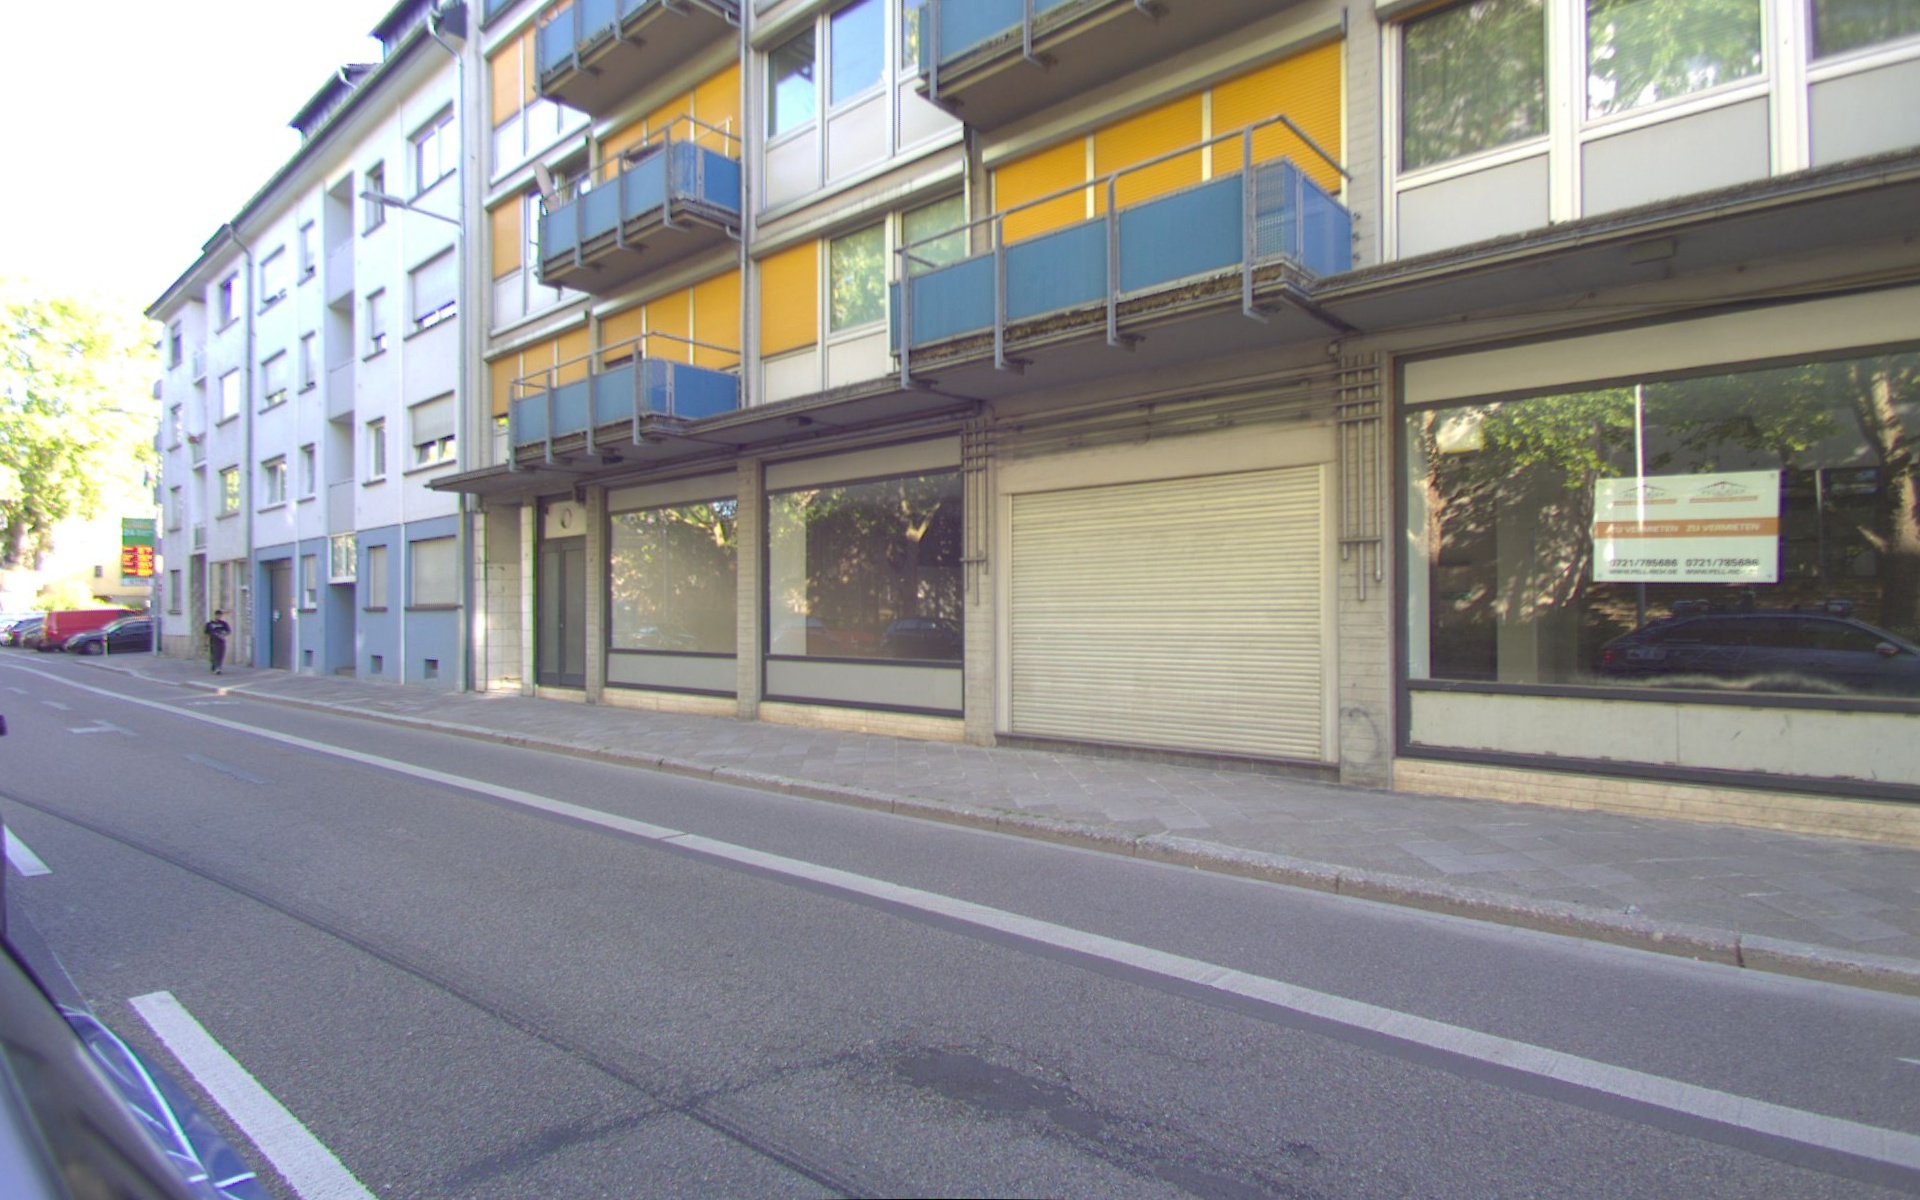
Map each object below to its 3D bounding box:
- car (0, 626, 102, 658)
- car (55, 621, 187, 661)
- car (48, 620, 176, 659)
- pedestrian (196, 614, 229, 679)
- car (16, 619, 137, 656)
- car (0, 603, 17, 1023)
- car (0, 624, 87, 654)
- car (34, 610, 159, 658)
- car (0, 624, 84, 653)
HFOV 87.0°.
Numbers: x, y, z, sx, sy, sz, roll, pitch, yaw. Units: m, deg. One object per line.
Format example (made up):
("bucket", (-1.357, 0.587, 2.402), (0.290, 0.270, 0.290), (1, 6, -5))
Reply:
("car", (-50.459, 2.297, 56.107), (1.652, 1.480, 4.201), (-1, 1, 41))
("car", (-36.490, 1.748, 44.095), (1.652, 1.411, 4.201), (-1, 1, 41))
("car", (-38.183, 1.736, 45.659), (1.652, 1.480, 4.201), (-1, 1, 41))
("pedestrian", (-20.263, 1.251, 27.434), (0.655, 1.708, 0.604), (-2, -1, 41))
("car", (-42.752, 1.795, 49.016), (1.652, 1.480, 4.201), (-1, 1, 41))
("car", (-5.641, 0.798, 4.405), (4.300, 1.510, 1.826), (-1, -1, 41))
("car", (-54.492, 2.284, 59.792), (1.652, 1.480, 4.201), (-1, 1, 41))
("car", (-40.564, 1.563, 47.621), (1.817, 1.933, 4.202), (-2, 1, 40))
("car", (-55.874, 2.304, 61.200), (1.652, 1.480, 4.201), (-1, 1, 41))
